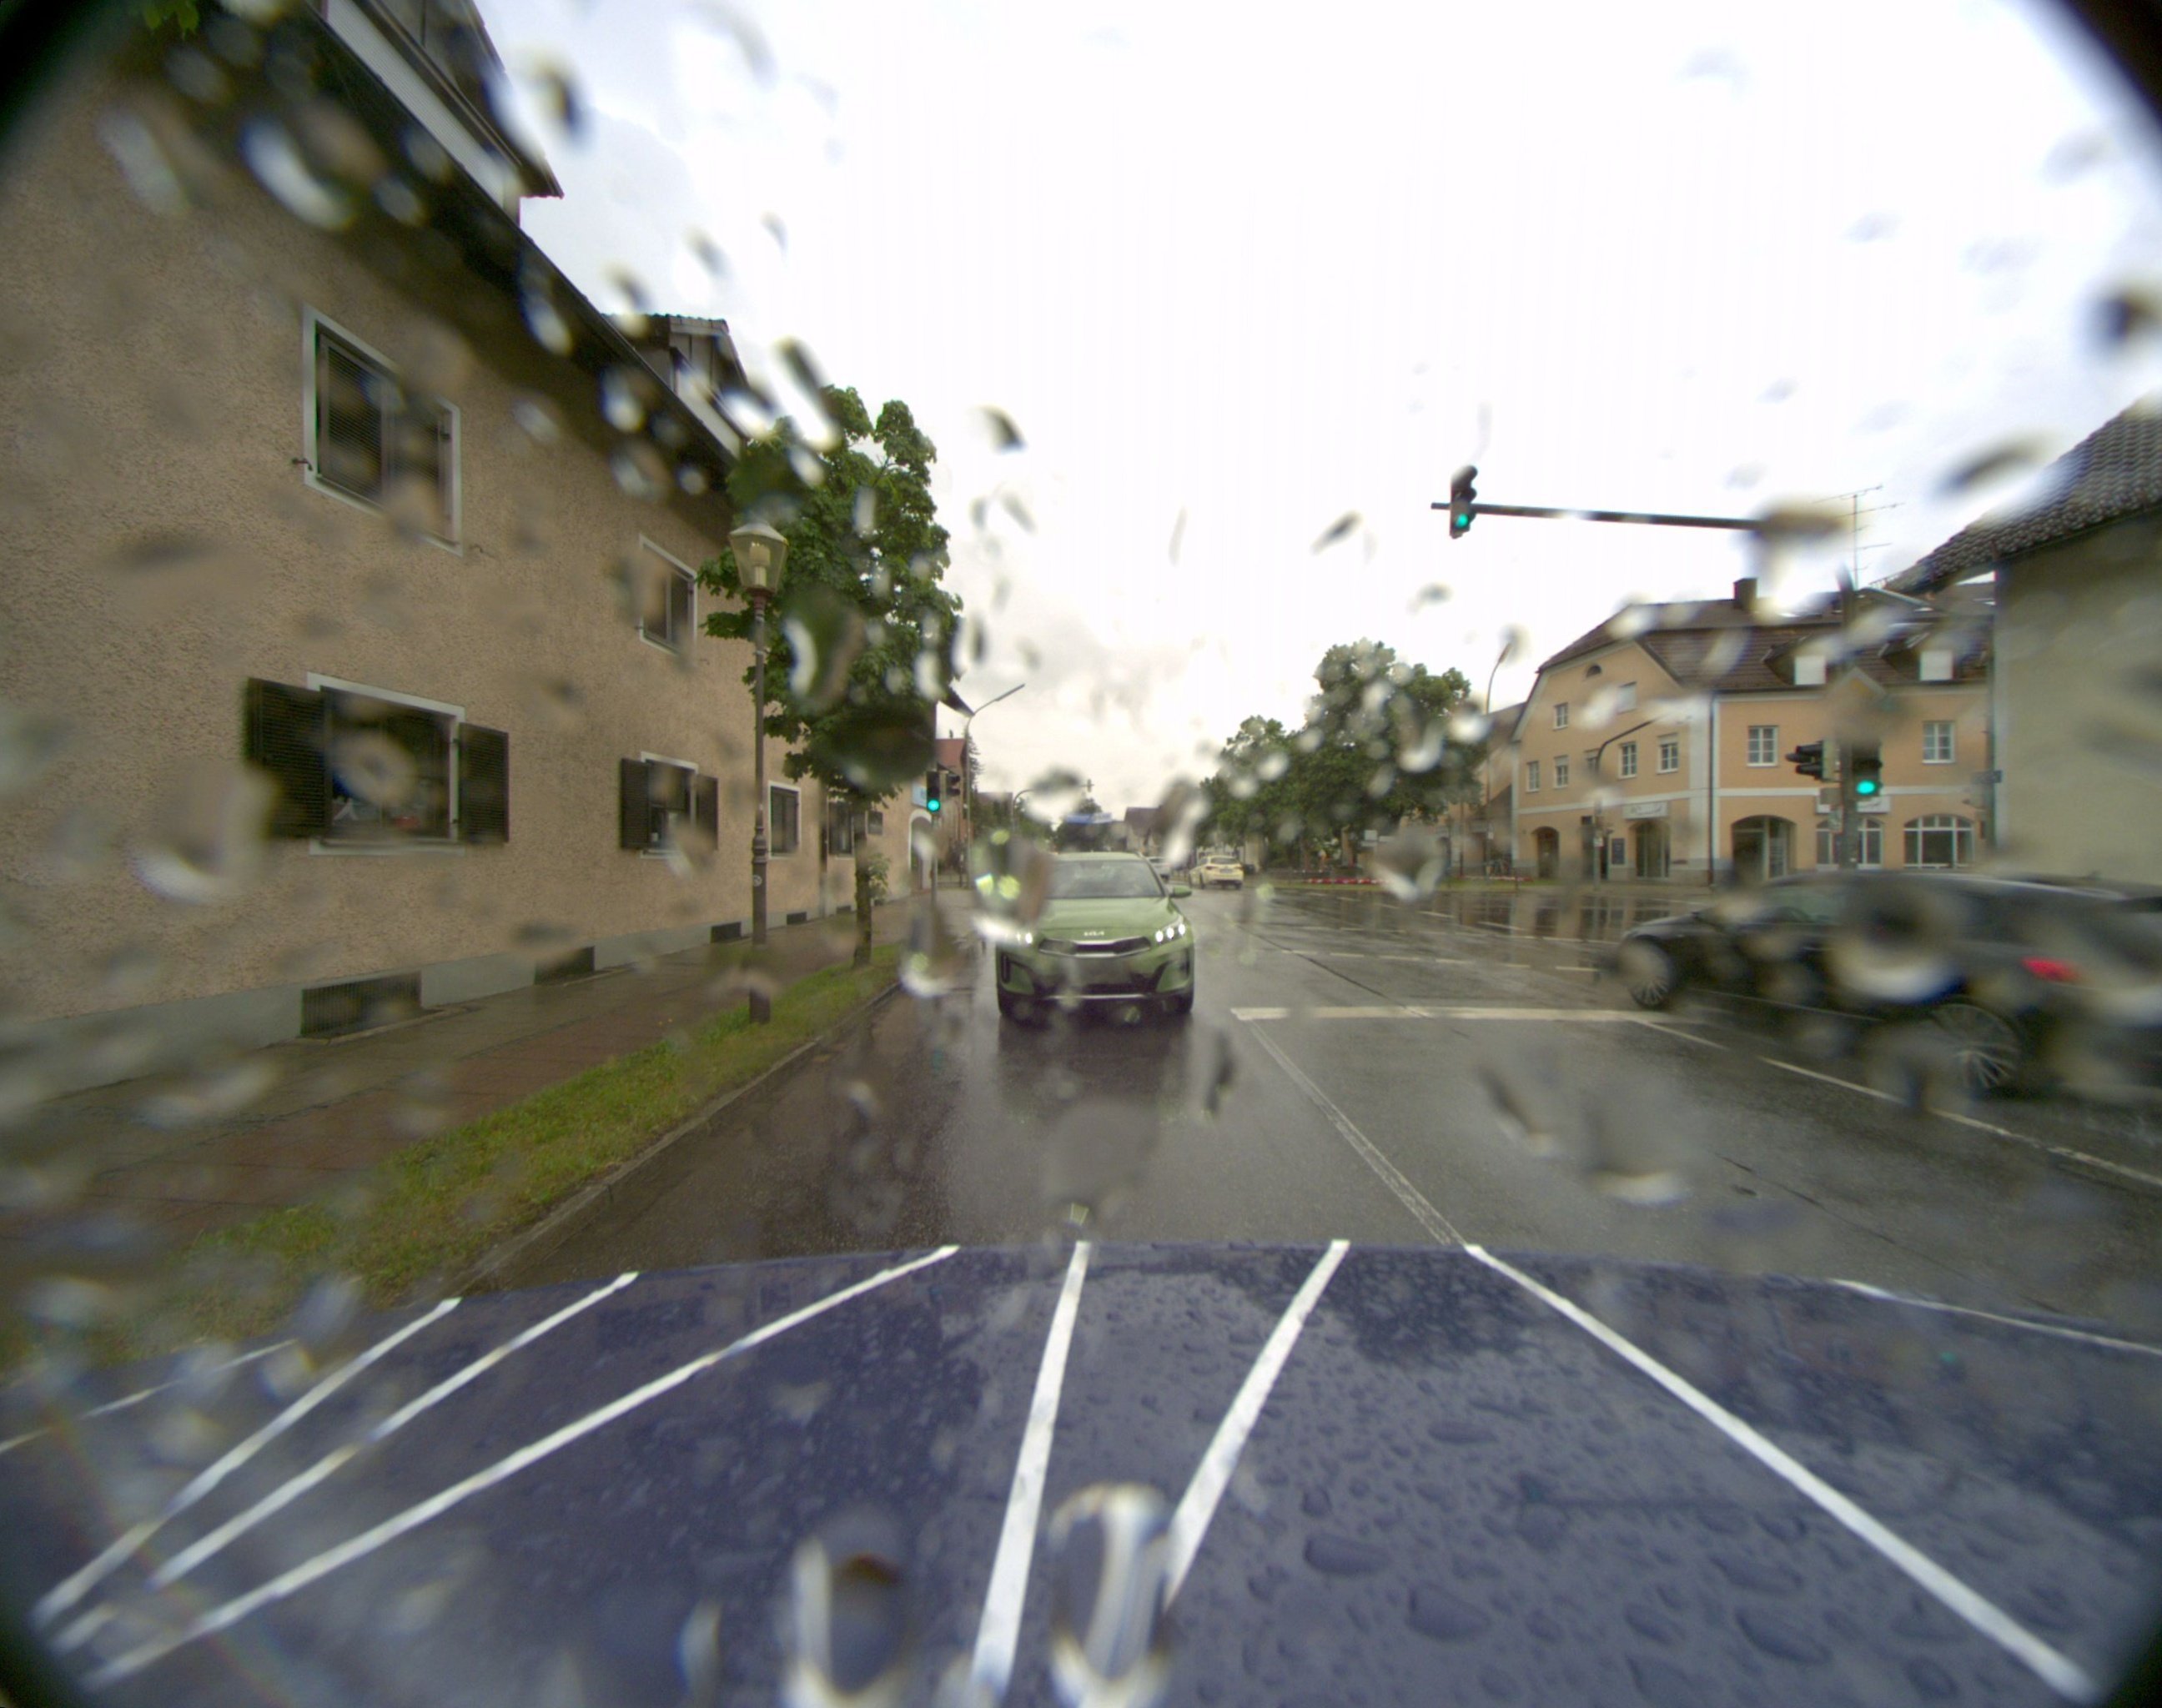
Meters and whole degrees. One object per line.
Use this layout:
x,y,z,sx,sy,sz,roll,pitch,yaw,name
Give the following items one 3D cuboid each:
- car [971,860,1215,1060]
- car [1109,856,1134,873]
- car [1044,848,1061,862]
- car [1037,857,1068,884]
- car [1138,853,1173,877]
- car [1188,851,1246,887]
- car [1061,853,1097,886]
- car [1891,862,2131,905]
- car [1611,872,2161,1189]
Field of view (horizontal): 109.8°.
0.133,0.849,7.991,1.872,1.504,4.105,-2,0,1,car
3.961,0.973,74.952,1.972,1.554,4.150,1,1,-3,car
-4.300,0.092,112.889,2.218,1.977,4.952,1,0,-5,car
-1.813,1.037,49.714,1.856,1.656,4.035,1,0,1,car
5.127,0.736,52.633,1.931,1.557,4.125,0,0,-1,car
6.057,0.615,34.250,1.757,1.502,4.229,1,0,-2,car
-0.072,0.699,37.483,1.637,1.509,4.000,1,0,1,car
27.552,0.832,22.685,4.352,1.178,1.691,0,1,15,car
6.182,0.899,5.526,2.001,1.399,3.883,1,0,2,car
